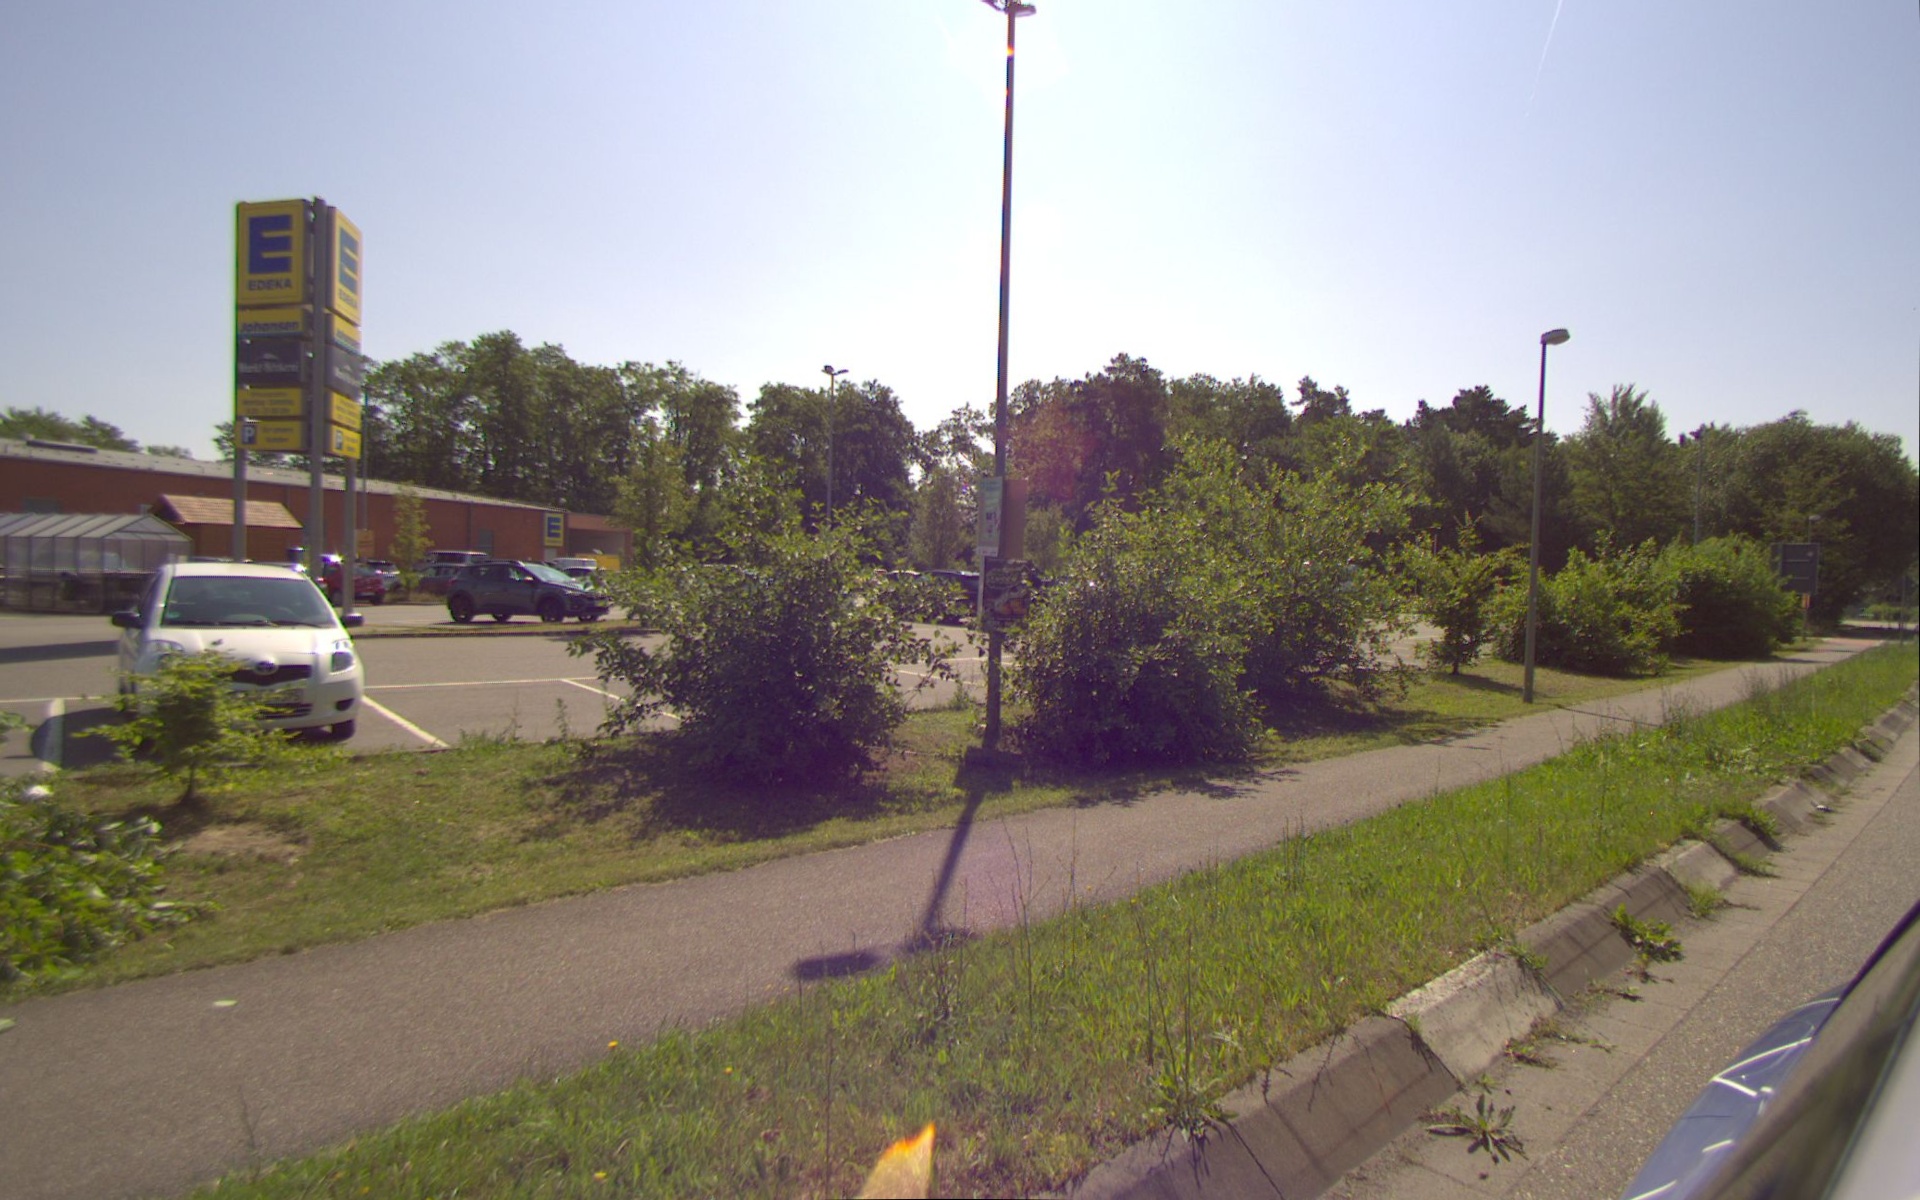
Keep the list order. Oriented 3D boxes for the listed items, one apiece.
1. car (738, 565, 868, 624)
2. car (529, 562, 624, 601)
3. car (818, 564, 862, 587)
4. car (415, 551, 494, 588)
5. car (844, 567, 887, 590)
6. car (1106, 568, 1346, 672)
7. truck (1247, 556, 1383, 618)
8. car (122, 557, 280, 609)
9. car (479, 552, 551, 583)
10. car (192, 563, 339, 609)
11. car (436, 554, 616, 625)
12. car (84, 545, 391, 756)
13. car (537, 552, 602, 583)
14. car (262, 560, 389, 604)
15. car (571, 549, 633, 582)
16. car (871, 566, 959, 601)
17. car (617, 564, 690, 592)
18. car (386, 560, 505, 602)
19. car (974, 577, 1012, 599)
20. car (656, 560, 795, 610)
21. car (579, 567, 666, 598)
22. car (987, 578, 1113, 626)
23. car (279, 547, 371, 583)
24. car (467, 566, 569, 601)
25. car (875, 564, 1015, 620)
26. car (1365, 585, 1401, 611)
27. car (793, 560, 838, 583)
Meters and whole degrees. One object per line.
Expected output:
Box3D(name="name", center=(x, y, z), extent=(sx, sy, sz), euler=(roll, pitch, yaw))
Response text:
Box3D(name="car", center=(-4.407, -0.184, 27.971), extent=(1.622, 1.460, 3.994), euler=(1, 2, -42))
Box3D(name="car", center=(-18.036, -0.883, 47.591), extent=(3.958, 1.683, 1.983), euler=(2, 1, 25))
Box3D(name="car", center=(-9.441, -1.934, 79.925), extent=(1.919, 1.732, 3.975), euler=(3, 2, 19))
Box3D(name="car", center=(-29.796, -1.805, 59.653), extent=(3.950, 2.038, 1.987), euler=(2, 1, 20))
Box3D(name="car", center=(-7.274, -1.661, 78.509), extent=(1.772, 1.615, 4.237), euler=(2, 2, 18))
Box3D(name="car", center=(5.010, 0.306, 19.471), extent=(1.723, 1.647, 4.124), euler=(1, 2, -43))
Box3D(name="truck", center=(16.641, -0.649, 47.709), extent=(2.167, 2.637, 5.603), euler=(1, 2, -45))
Box3D(name="car", center=(-22.999, -0.515, 30.713), extent=(3.949, 1.438, 1.970), euler=(2, 0, 19))
Box3D(name="car", center=(-28.642, -2.086, 65.156), extent=(3.951, 1.905, 1.987), euler=(2, 1, 20))
Box3D(name="car", center=(-22.880, -0.469, 33.390), extent=(3.946, 1.393, 1.989), euler=(2, 1, 17))
Box3D(name="car", center=(-10.949, -0.272, 25.599), extent=(3.937, 1.608, 1.656), euler=(2, 1, 11))
Box3D(name="car", center=(-7.053, 0.330, 9.749), extent=(3.596, 1.581, 1.785), euler=(4, 2, 44))
Box3D(name="car", center=(-27.273, -2.270, 70.686), extent=(3.954, 2.039, 1.985), euler=(2, 1, 22))
Box3D(name="car", center=(-22.416, -0.634, 35.773), extent=(3.948, 1.415, 1.705), euler=(2, 1, 19))
Box3D(name="car", center=(-26.423, -2.526, 74.608), extent=(3.978, 2.275, 1.985), euler=(2, 0, 22))
Box3D(name="car", center=(-2.258, -0.844, 51.056), extent=(3.956, 1.604, 1.955), euler=(2, 1, 24))
Box3D(name="car", center=(-18.886, -1.347, 62.415), extent=(3.946, 1.537, 1.791), euler=(3, 2, 17))
Box3D(name="car", center=(-20.292, -0.756, 39.952), extent=(3.946, 1.504, 1.958), euler=(2, 1, 17))
Box3D(name="car", center=(2.523, -0.896, 75.763), extent=(1.641, 1.504, 4.346), euler=(3, 2, 19))
Box3D(name="car", center=(-8.374, -0.528, 36.130), extent=(4.501, 1.723, 1.988), euler=(0, 0, 19))
Box3D(name="car", center=(-17.068, -0.896, 51.158), extent=(3.956, 1.415, 1.876), euler=(2, 1, 24))
Box3D(name="car", center=(3.044, 0.051, 34.619), extent=(3.981, 1.445, 1.725), euler=(3, 1, 39))
Box3D(name="car", center=(-33.439, -1.814, 53.301), extent=(3.943, 1.839, 1.991), euler=(0, 0, 16))
Box3D(name="car", center=(-19.432, -0.729, 44.500), extent=(3.957, 1.371, 1.984), euler=(3, 1, 24))
Box3D(name="car", center=(-0.515, -0.266, 31.456), extent=(4.152, 1.593, 1.969), euler=(2, 1, 43))
Box3D(name="car", center=(27.989, -0.170, 67.075), extent=(1.737, 1.549, 4.349), euler=(2, 2, 18))
Box3D(name="car", center=(-11.528, -2.223, 80.817), extent=(1.919, 1.732, 3.975), euler=(3, 2, 19))
